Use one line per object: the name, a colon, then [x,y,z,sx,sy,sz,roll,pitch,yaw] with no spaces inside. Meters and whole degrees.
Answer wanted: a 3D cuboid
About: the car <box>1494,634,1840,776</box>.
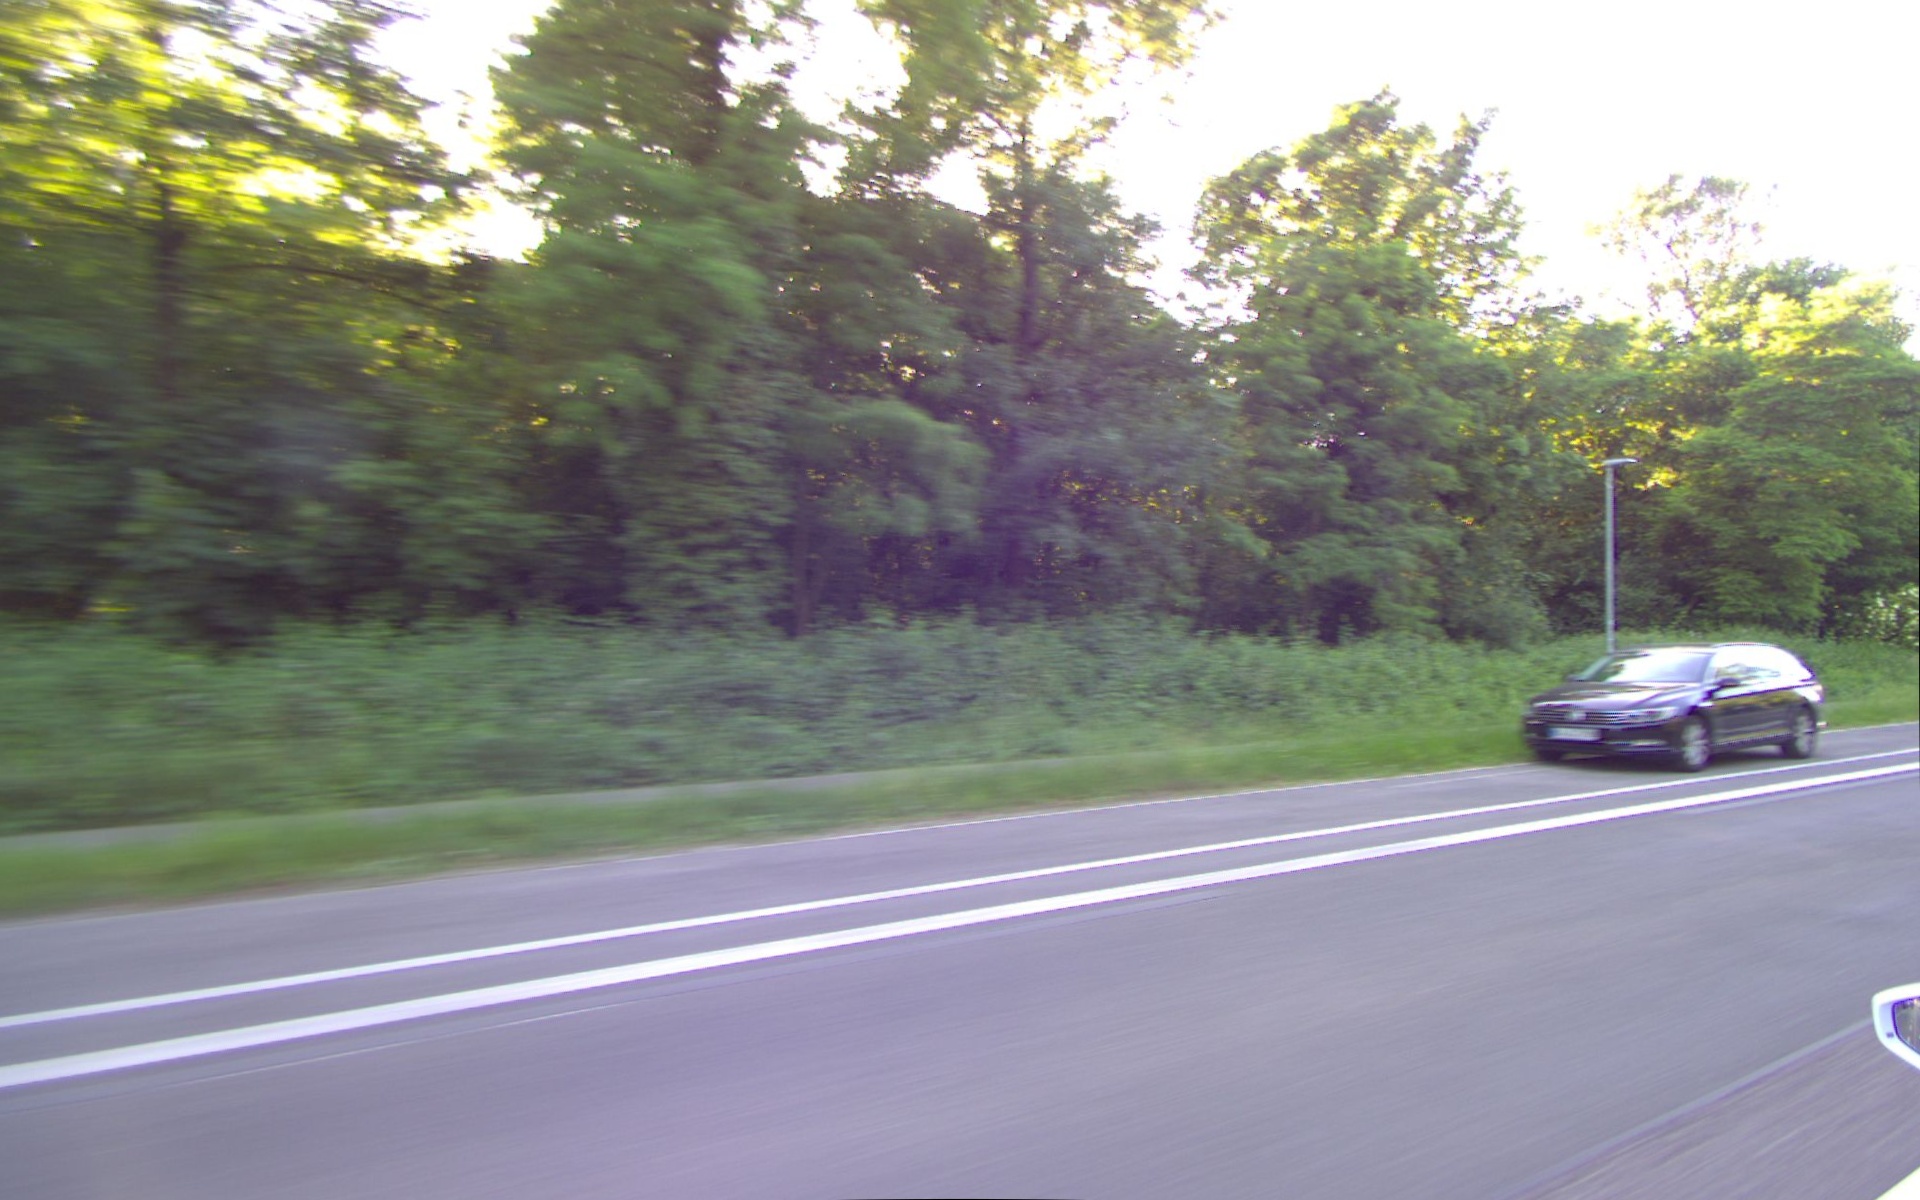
car: [9.091,1.207,12.820,4.728,1.484,1.846,1,-1,-30]
